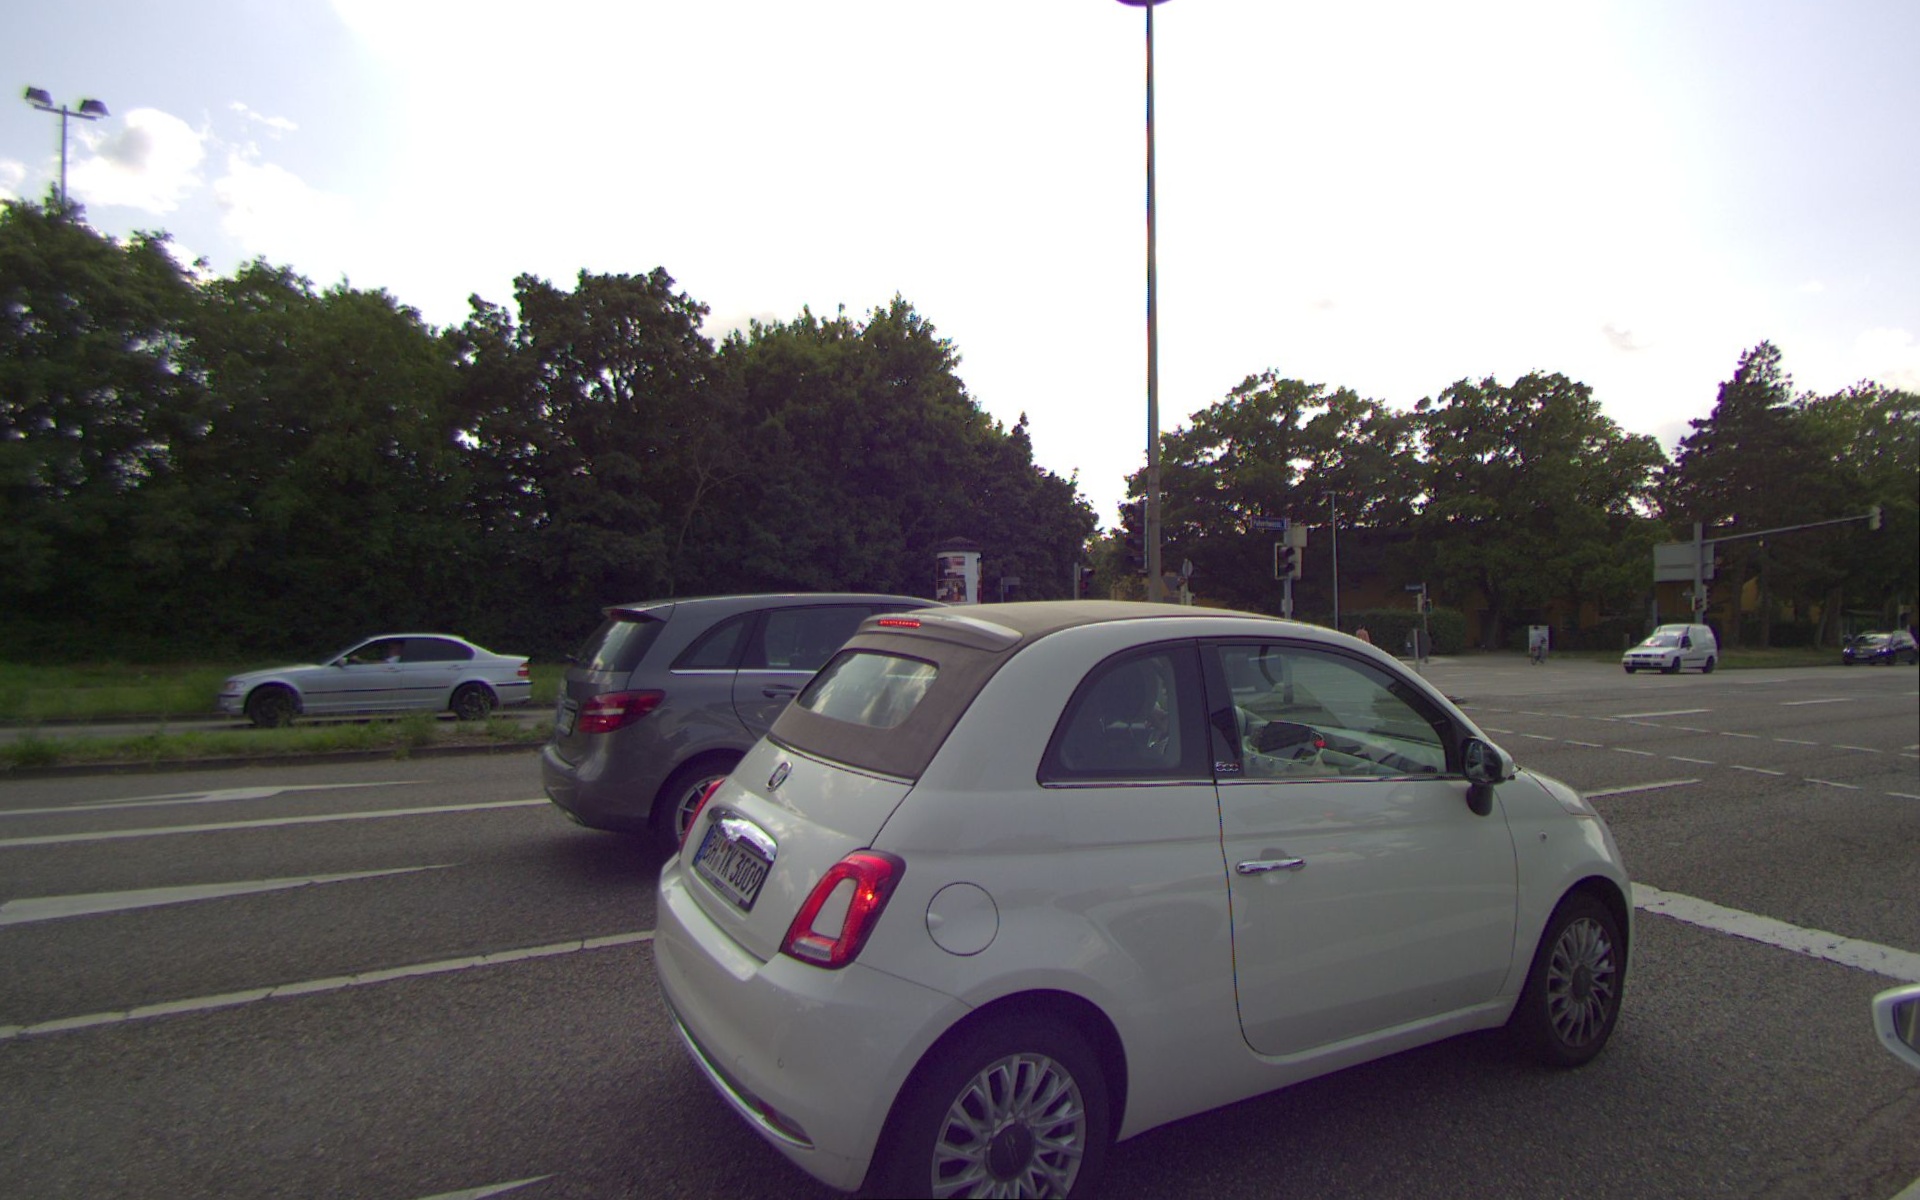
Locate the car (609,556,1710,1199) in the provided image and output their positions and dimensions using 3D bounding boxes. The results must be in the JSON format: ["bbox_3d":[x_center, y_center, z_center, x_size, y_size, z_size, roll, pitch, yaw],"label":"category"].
[{"bbox_3d":[0.790,0.719,3.407,3.499,1.517,1.562,2,0,-30],"label":"car"}]

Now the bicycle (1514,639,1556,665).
[{"bbox_3d":[25.622,2.291,44.762,2.091,1.133,0.751,1,-2,-32],"label":"bicycle"}]

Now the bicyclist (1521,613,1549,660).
[{"bbox_3d":[25.626,1.631,44.781,0.822,2.040,0.747,1,-2,-32],"label":"bicyclist"}]

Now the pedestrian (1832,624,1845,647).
[{"bbox_3d":[59.421,2.400,67.941,0.418,1.515,0.564,2,0,-45],"label":"pedestrian"}]

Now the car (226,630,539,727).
[{"bbox_3d":[-9.237,1.239,16.370,4.188,1.405,1.660,2,-3,-30],"label":"car"}]

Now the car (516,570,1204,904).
[{"bbox_3d":[-0.548,0.740,6.776,4.309,1.640,1.690,2,-1,-30],"label":"car"}]

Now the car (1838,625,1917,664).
[{"bbox_3d":[44.035,2.127,48.189,4.260,1.764,1.663,2,-2,-30],"label":"car"}]

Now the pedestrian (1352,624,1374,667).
[{"bbox_3d":[16.756,1.868,41.747,0.678,1.765,0.705,0,-2,7],"label":"pedestrian"}]

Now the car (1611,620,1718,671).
[{"bbox_3d":[26.053,1.677,37.115,4.205,1.817,1.663,2,-2,-30],"label":"car"}]

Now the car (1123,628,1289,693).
[{"bbox_3d":[6.090,1.464,24.668,4.160,1.477,1.519,2,-2,-32],"label":"car"}]

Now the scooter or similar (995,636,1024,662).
[{"bbox_3d":[1.825,1.801,36.958,1.021,0.954,0.295,2,0,-24],"label":"scooter or similar"}]

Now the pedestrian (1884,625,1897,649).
[{"bbox_3d":[60.618,2.424,65.432,0.418,1.515,0.564,2,0,-45],"label":"pedestrian"}]
